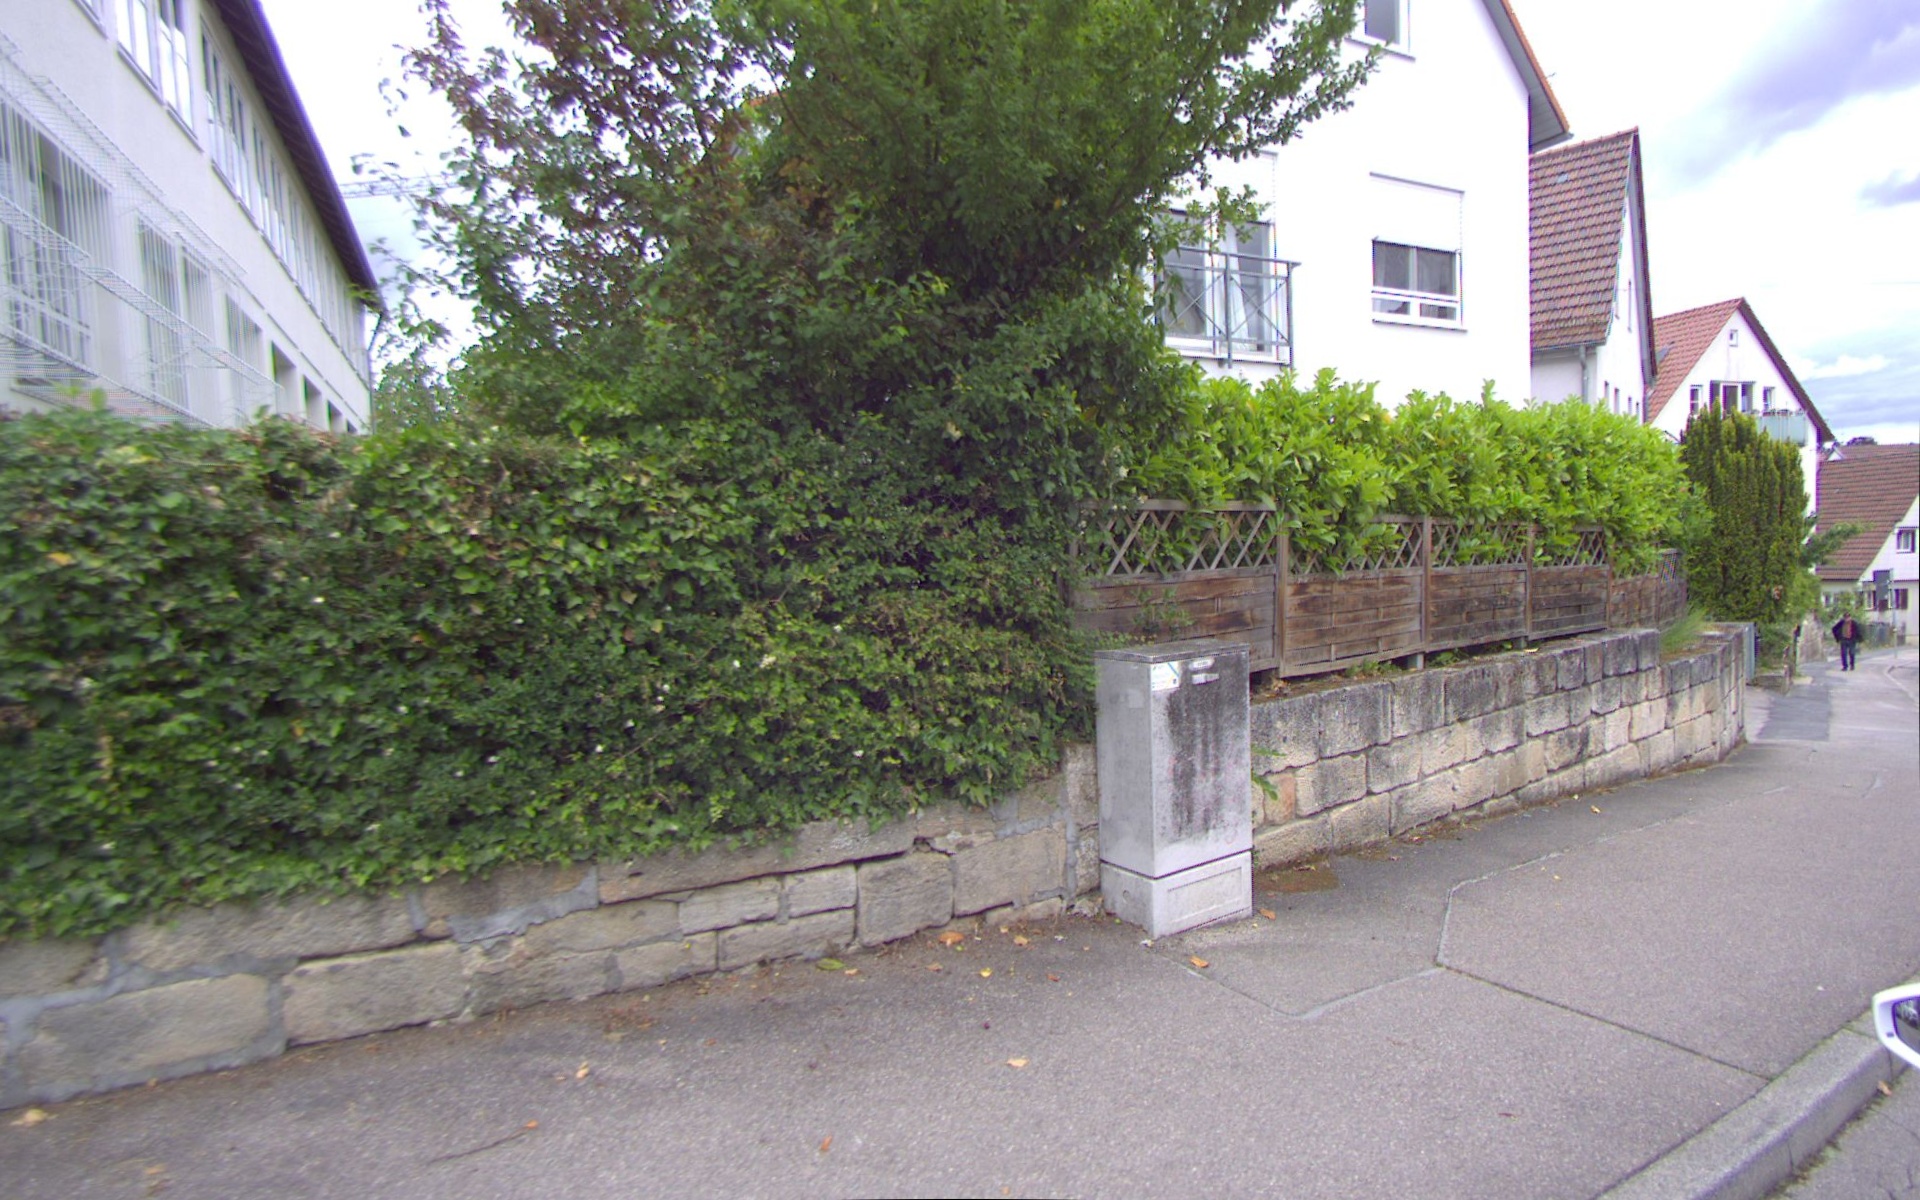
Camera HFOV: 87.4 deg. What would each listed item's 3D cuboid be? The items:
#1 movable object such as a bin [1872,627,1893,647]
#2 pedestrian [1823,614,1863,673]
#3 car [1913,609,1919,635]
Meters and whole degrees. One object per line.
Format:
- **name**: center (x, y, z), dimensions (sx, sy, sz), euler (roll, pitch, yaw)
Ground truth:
- **movable object such as a bin**: center (45.586, 1.815, 49.628), dimensions (0.482, 0.896, 0.527), euler (3, 3, -13)
- **pedestrian**: center (26.745, 1.302, 30.443), dimensions (0.830, 1.700, 0.972), euler (3, 1, 41)
- **car**: center (69.367, 1.592, 69.834), dimensions (1.909, 1.803, 4.367), euler (-1, 1, -3)
